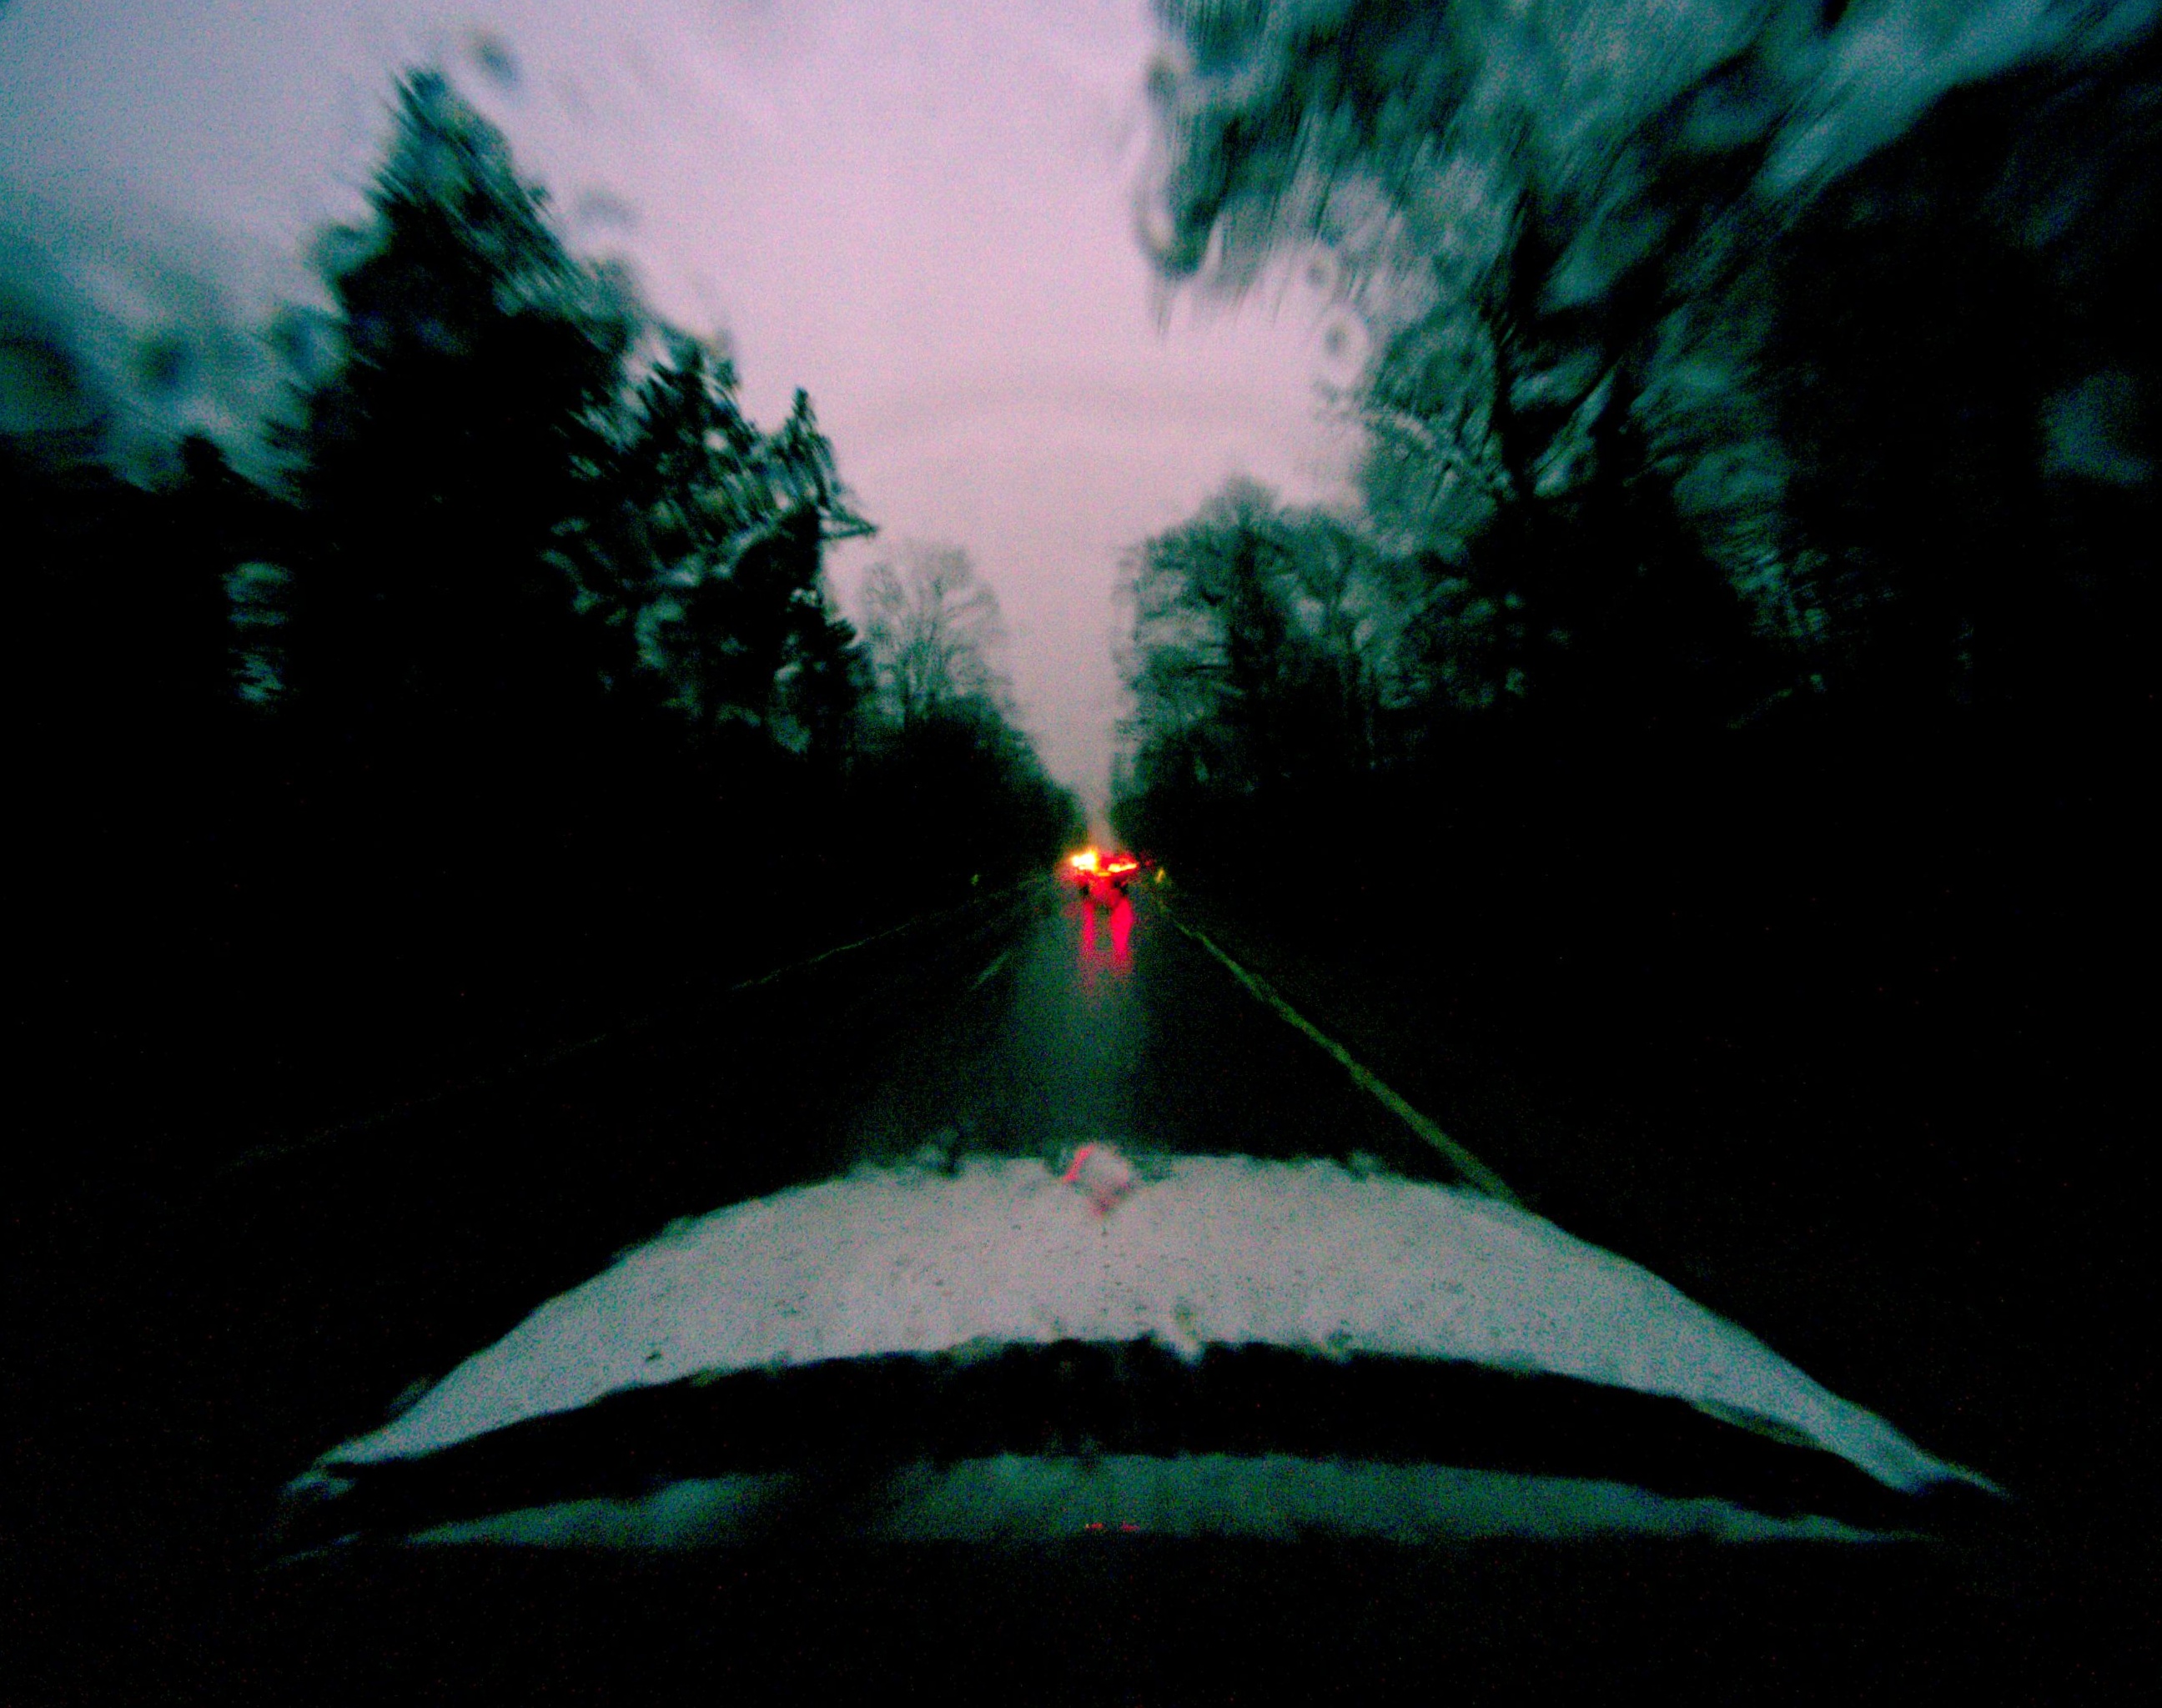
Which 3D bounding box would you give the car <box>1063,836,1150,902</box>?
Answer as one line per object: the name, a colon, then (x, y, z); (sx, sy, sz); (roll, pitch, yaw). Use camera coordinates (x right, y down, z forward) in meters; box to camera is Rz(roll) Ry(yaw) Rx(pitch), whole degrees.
car: (1.061, 0.563, 33.209); (3.171, 2.386, 6.640); (0, 0, 2)
